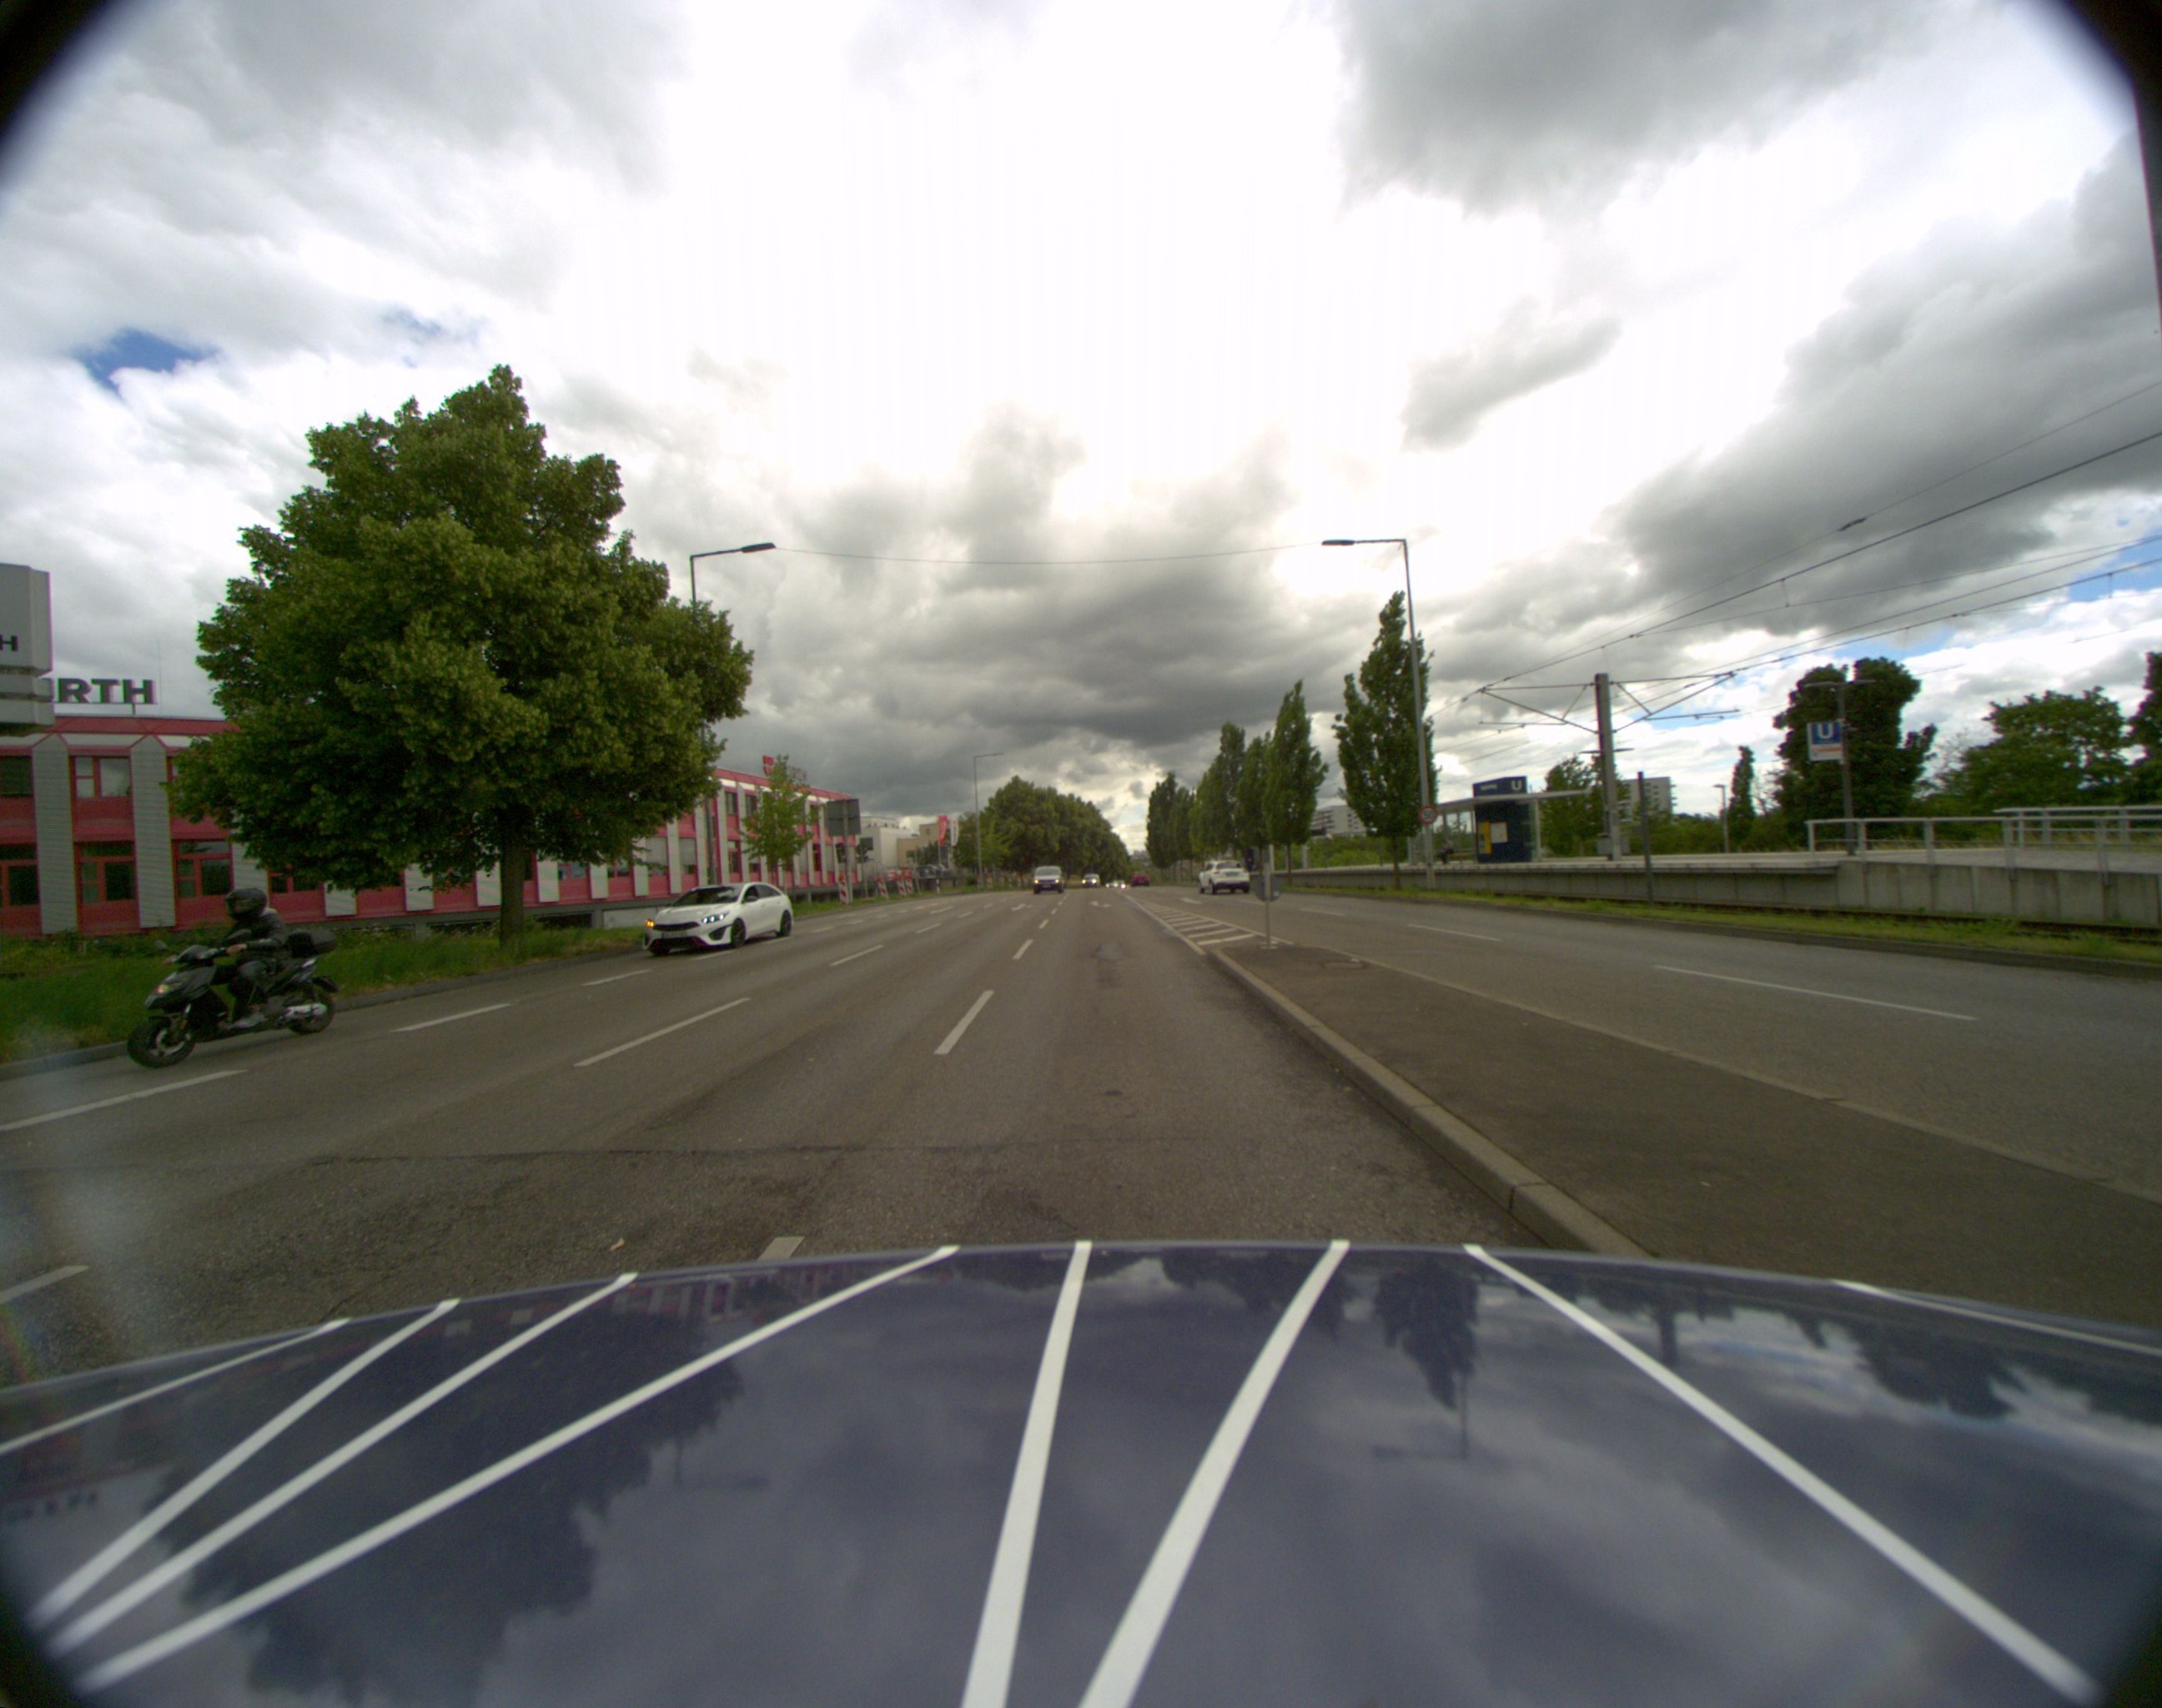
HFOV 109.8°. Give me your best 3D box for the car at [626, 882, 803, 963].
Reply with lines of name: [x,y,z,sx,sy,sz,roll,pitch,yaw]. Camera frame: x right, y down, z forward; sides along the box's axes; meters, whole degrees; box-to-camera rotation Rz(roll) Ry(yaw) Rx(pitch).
car: [-8.041,1.436,17.219,1.785,1.354,4.479,-4,-1,-1]

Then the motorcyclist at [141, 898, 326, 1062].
motorcyclist: [-8.561,1.227,7.723,0.750,1.481,0.933,-4,-1,0]

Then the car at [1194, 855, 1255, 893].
car: [6.731,0.930,36.120,1.834,1.619,4.425,-2,-1,-3]

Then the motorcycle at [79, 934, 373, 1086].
motorcycle: [-8.547,1.492,7.761,0.750,1.140,1.943,-4,-1,0]

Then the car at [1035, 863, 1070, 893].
car: [-1.813,1.553,50.051,1.782,1.744,4.253,-2,0,4]

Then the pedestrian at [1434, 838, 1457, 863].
pedestrian: [17.618,-0.171,36.731,0.663,1.195,0.782,-2,0,-7]

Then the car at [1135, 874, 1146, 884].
car: [10.616,4.485,135.154,1.782,1.537,4.226,-2,0,5]

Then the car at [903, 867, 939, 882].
car: [-21.221,2.691,101.003,4.248,1.744,1.784,-2,0,2]

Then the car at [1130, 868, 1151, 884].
car: [5.907,2.135,75.800,1.785,1.434,4.426,-3,-1,1]

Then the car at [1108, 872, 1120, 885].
car: [5.087,3.801,118.499,1.782,1.744,4.253,-2,0,3]

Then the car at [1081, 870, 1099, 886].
car: [1.154,2.964,95.313,1.984,1.744,4.253,-2,0,3]
